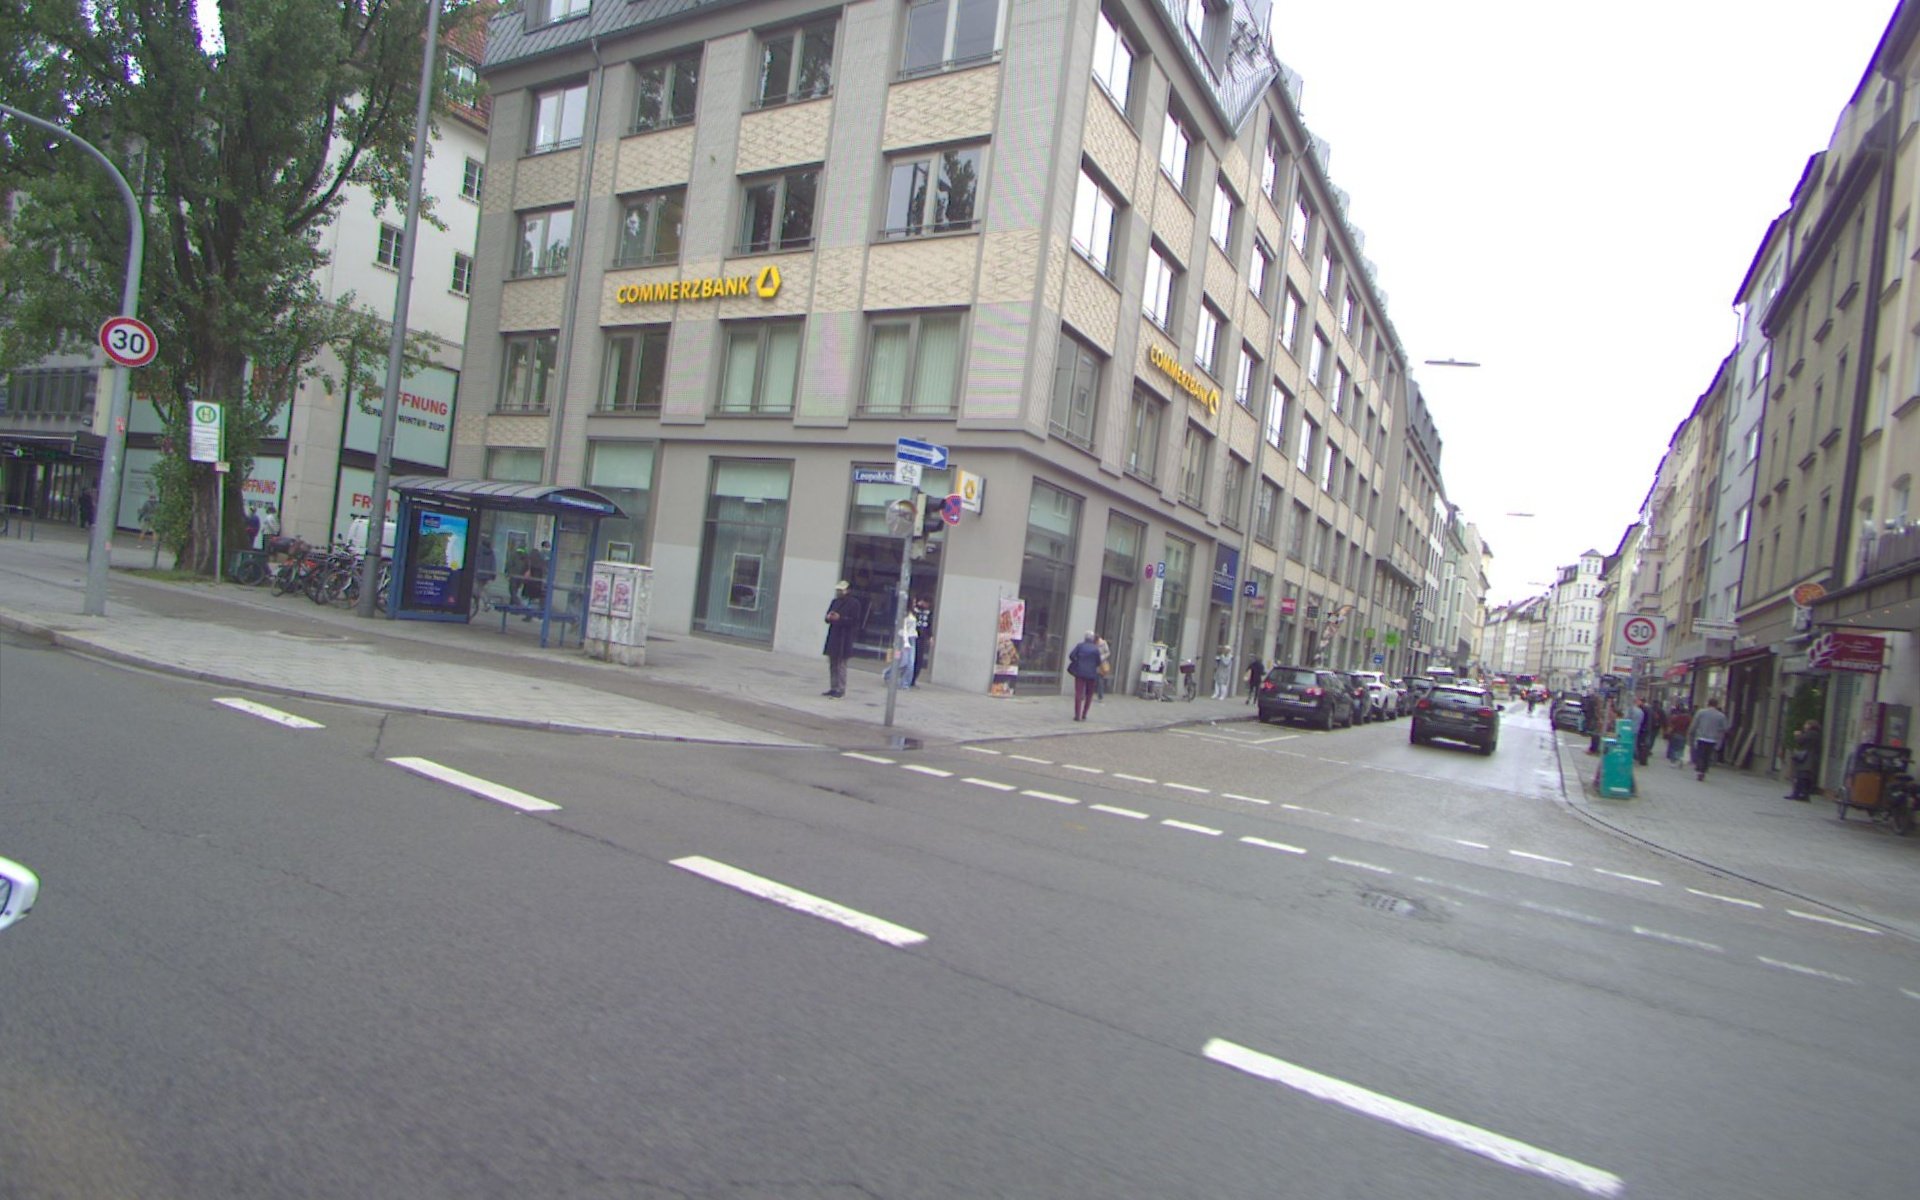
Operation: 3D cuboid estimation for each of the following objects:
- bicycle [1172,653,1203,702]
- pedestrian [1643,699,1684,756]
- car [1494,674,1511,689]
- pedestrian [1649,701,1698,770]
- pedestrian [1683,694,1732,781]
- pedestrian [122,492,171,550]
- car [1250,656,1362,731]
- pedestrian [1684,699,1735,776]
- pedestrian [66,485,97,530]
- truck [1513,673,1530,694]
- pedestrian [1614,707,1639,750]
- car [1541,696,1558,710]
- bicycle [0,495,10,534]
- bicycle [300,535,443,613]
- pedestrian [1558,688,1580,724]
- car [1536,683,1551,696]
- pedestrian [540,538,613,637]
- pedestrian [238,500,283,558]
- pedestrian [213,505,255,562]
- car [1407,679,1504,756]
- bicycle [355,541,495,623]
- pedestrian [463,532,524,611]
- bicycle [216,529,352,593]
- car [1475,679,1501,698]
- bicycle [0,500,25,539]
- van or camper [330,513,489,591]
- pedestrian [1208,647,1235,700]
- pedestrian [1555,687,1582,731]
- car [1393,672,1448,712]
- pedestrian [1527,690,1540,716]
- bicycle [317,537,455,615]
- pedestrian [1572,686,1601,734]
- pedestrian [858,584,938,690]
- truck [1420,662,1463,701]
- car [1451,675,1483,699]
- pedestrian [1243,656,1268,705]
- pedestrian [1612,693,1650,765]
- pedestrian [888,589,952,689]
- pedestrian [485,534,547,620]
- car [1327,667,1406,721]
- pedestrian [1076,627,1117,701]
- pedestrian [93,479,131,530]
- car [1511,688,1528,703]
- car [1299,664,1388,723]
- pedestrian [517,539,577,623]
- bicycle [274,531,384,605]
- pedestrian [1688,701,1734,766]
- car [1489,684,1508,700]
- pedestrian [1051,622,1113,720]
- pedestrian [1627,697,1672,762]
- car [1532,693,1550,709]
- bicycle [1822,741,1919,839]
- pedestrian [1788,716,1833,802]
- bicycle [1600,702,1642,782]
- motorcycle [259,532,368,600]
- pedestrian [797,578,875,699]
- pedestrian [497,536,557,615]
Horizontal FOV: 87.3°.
[{"bbox_3d":[6.129,2.068,27.040,0.440,1.227,1.744,7,0,21],"label":"bicycle"},{"bbox_3d":[21.611,3.913,30.922,0.805,1.628,0.867,7,-1,32],"label":"pedestrian"},{"bbox_3d":[63.431,9.515,117.640,1.556,1.529,3.201,7,-1,30],"label":"car"},{"bbox_3d":[18.444,3.498,26.026,0.805,1.628,0.867,7,-1,32],"label":"pedestrian"},{"bbox_3d":[16.605,3.045,22.340,0.666,1.789,0.999,7,-1,40],"label":"pedestrian"},{"bbox_3d":[-26.003,-2.511,32.175,0.815,1.694,0.982,7,0,-22],"label":"pedestrian"},{"bbox_3d":[9.007,2.402,26.009,1.730,1.568,3.992,7,0,32],"label":"car"},{"bbox_3d":[18.992,3.474,25.513,0.805,1.789,0.867,7,-1,32],"label":"pedestrian"},{"bbox_3d":[-34.844,-3.669,39.902,0.760,1.630,0.669,8,2,38],"label":"pedestrian"},{"bbox_3d":[90.672,13.514,162.500,1.961,3.037,5.480,7,0,30],"label":"truck"},{"bbox_3d":[23.993,4.616,36.208,0.576,1.449,0.443,7,-1,40],"label":"pedestrian"},{"bbox_3d":[72.343,12.646,123.557,1.556,1.529,3.201,7,-1,30],"label":"car"},{"bbox_3d":[-28.166,-2.542,28.478,0.440,1.124,1.744,7,0,21],"label":"bicycle"},{"bbox_3d":[-11.682,-0.486,20.081,0.622,1.267,2.347,7,-1,30],"label":"bicycle"},{"bbox_3d":[33.524,5.825,55.372,0.820,1.825,0.866,7,0,32],"label":"pedestrian"},{"bbox_3d":[77.729,11.950,133.997,1.556,1.529,3.201,7,-1,30],"label":"car"},{"bbox_3d":[-7.738,-0.241,20.327,0.875,1.840,0.819,7,0,29],"label":"pedestrian"},{"bbox_3d":[-22.945,-2.332,32.997,0.947,1.739,0.751,7,1,31],"label":"pedestrian"},{"bbox_3d":[-23.290,-2.134,32.276,0.947,1.683,0.653,7,0,31],"label":"pedestrian"},{"bbox_3d":[12.271,2.831,24.801,1.730,1.479,3.994,7,0,30],"label":"car"},{"bbox_3d":[-10.189,-0.331,19.219,2.226,1.267,0.472,8,0,-35],"label":"bicycle"},{"bbox_3d":[-10.996,-0.666,23.707,0.947,1.698,0.751,8,1,32],"label":"pedestrian"},{"bbox_3d":[-14.223,-0.801,21.235,0.860,1.029,2.152,7,-1,31],"label":"bicycle"},{"bbox_3d":[47.969,8.057,91.355,1.730,1.479,3.692,7,0,32],"label":"car"},{"bbox_3d":[-27.540,-2.358,28.251,0.475,1.057,1.764,7,0,20],"label":"bicycle"},{"bbox_3d":[-18.261,-1.542,33.528,1.868,1.888,4.110,7,-2,35],"label":"van or camper"},{"bbox_3d":[8.060,2.255,30.989,0.573,1.539,0.445,7,1,22],"label":"pedestrian"},{"bbox_3d":[26.968,4.822,44.607,0.820,1.824,0.867,7,-1,32],"label":"pedestrian"},{"bbox_3d":[20.875,4.172,45.488,1.730,1.479,3.994,7,-1,31],"label":"car"},{"bbox_3d":[37.190,6.664,65.221,0.573,1.571,0.669,7,1,31],"label":"pedestrian"},{"bbox_3d":[-11.193,-0.439,19.732,0.469,1.267,2.319,8,0,30],"label":"bicycle"},{"bbox_3d":[25.534,4.485,41.029,0.820,1.824,0.867,7,-1,32],"label":"pedestrian"},{"bbox_3d":[-1.120,0.673,18.283,1.000,1.780,0.751,8,1,32],"label":"pedestrian"},{"bbox_3d":[28.511,4.825,59.525,1.730,2.005,3.994,7,-1,31],"label":"truck"},{"bbox_3d":[38.247,6.570,75.849,1.730,1.479,3.692,7,0,32],"label":"car"},{"bbox_3d":[8.989,2.450,30.574,0.574,1.422,0.444,4,-1,28],"label":"pedestrian"},{"bbox_3d":[16.358,3.145,24.518,0.576,1.664,0.443,7,-1,40],"label":"pedestrian"},{"bbox_3d":[-0.751,0.744,18.940,0.699,1.779,0.751,7,0,32],"label":"pedestrian"},{"bbox_3d":[-9.712,-0.500,22.013,0.845,1.779,0.751,5,0,32],"label":"pedestrian"},{"bbox_3d":[13.835,3.179,34.138,1.730,1.479,3.692,7,0,32],"label":"car"},{"bbox_3d":[3.025,1.415,22.284,0.574,1.550,0.444,10,2,28],"label":"pedestrian"},{"bbox_3d":[-33.625,-3.780,39.916,0.863,1.851,0.829,7,0,-31],"label":"pedestrian"},{"bbox_3d":[69.428,11.868,124.813,1.657,1.592,3.683,7,-2,30],"label":"car"},{"bbox_3d":[11.838,2.858,30.907,1.730,1.479,3.692,7,0,32],"label":"car"},{"bbox_3d":[-9.289,-0.417,22.645,0.845,1.779,0.751,5,0,32],"label":"pedestrian"},{"bbox_3d":[-12.566,-0.619,20.091,0.442,1.254,1.727,8,0,32],"label":"bicycle"},{"bbox_3d":[21.375,3.795,28.658,0.805,1.715,0.867,7,-1,32],"label":"pedestrian"},{"bbox_3d":[59.601,10.153,111.319,1.556,1.529,3.201,7,-1,30],"label":"car"},{"bbox_3d":[2.193,1.265,18.069,0.722,1.657,0.750,5,1,33],"label":"pedestrian"},{"bbox_3d":[18.741,3.523,27.371,0.805,1.628,0.867,7,-1,32],"label":"pedestrian"},{"bbox_3d":[64.896,11.242,112.431,1.556,1.529,3.201,7,-1,30],"label":"car"},{"bbox_3d":[14.437,2.918,15.588,0.983,1.267,2.977,7,-2,30],"label":"bicycle"},{"bbox_3d":[16.385,3.050,19.382,0.437,1.575,0.583,7,-1,32],"label":"pedestrian"},{"bbox_3d":[12.772,2.716,19.468,0.473,1.403,1.830,7,0,32],"label":"bicycle"},{"bbox_3d":[-13.086,-0.676,20.415,0.501,1.153,1.727,8,0,32],"label":"motorcycle"},{"bbox_3d":[-1.941,0.606,15.755,0.740,1.779,0.709,7,0,32],"label":"pedestrian"},{"bbox_3d":[-10.408,-0.584,24.189,0.947,1.738,0.751,8,0,32],"label":"pedestrian"}]
